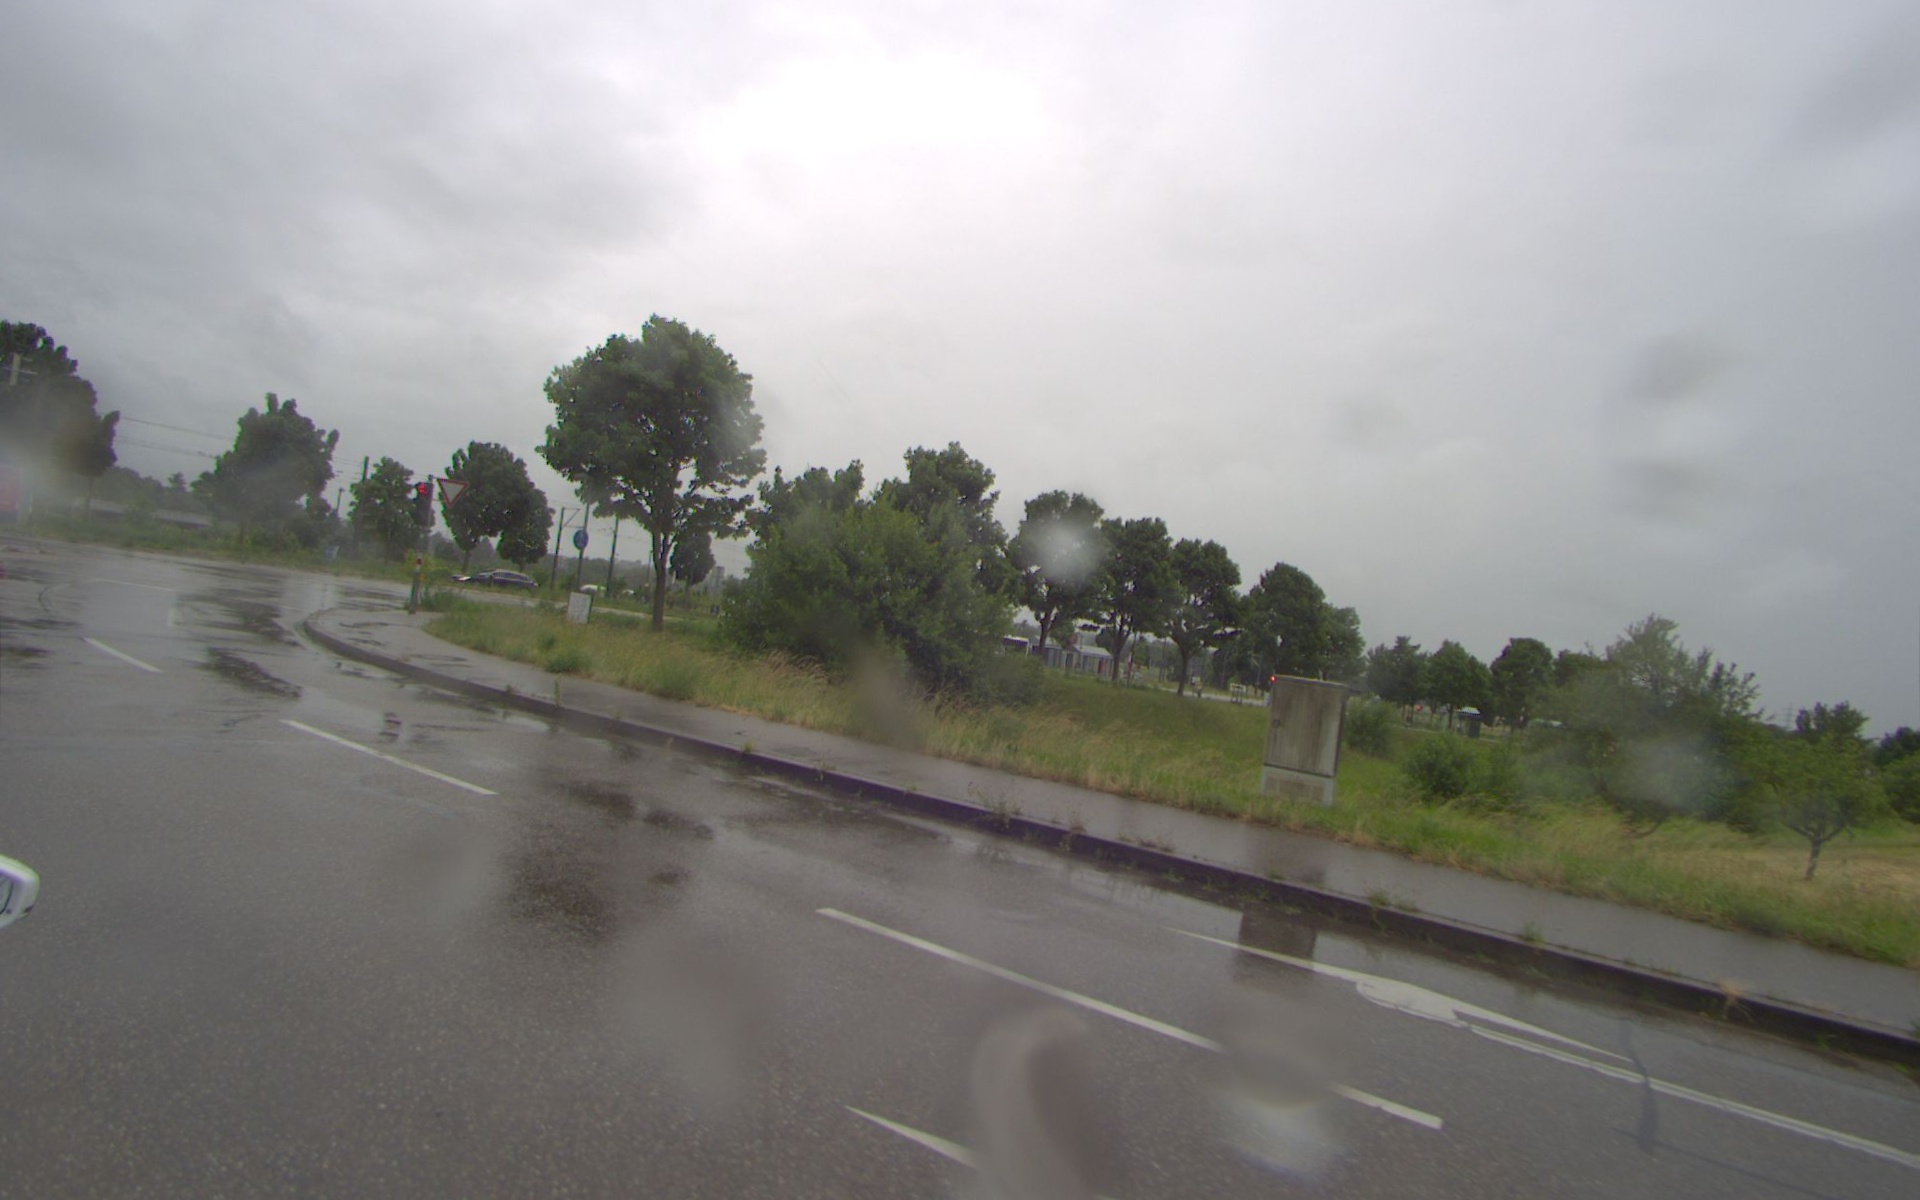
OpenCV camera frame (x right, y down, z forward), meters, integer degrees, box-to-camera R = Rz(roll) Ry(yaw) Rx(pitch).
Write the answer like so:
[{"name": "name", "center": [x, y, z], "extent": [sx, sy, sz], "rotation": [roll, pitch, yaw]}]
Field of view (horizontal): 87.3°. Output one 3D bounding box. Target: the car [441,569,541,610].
[{"name": "car", "center": [-26.067, -0.558, 56.078], "extent": [1.793, 1.571, 4.675], "rotation": [8, -1, 34]}]

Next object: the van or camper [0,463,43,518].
[{"name": "van or camper", "center": [-43.529, -5.135, 43.826], "extent": [4.823, 2.194, 2.140], "rotation": [10, -2, -35]}]

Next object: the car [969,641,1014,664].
[{"name": "car", "center": [2.966, 4.896, 93.879], "extent": [1.794, 1.570, 4.676], "rotation": [7, -3, 36]}]

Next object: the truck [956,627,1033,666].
[{"name": "truck", "center": [3.599, 4.791, 101.836], "extent": [2.615, 2.803, 9.329], "rotation": [8, -2, 37]}]
